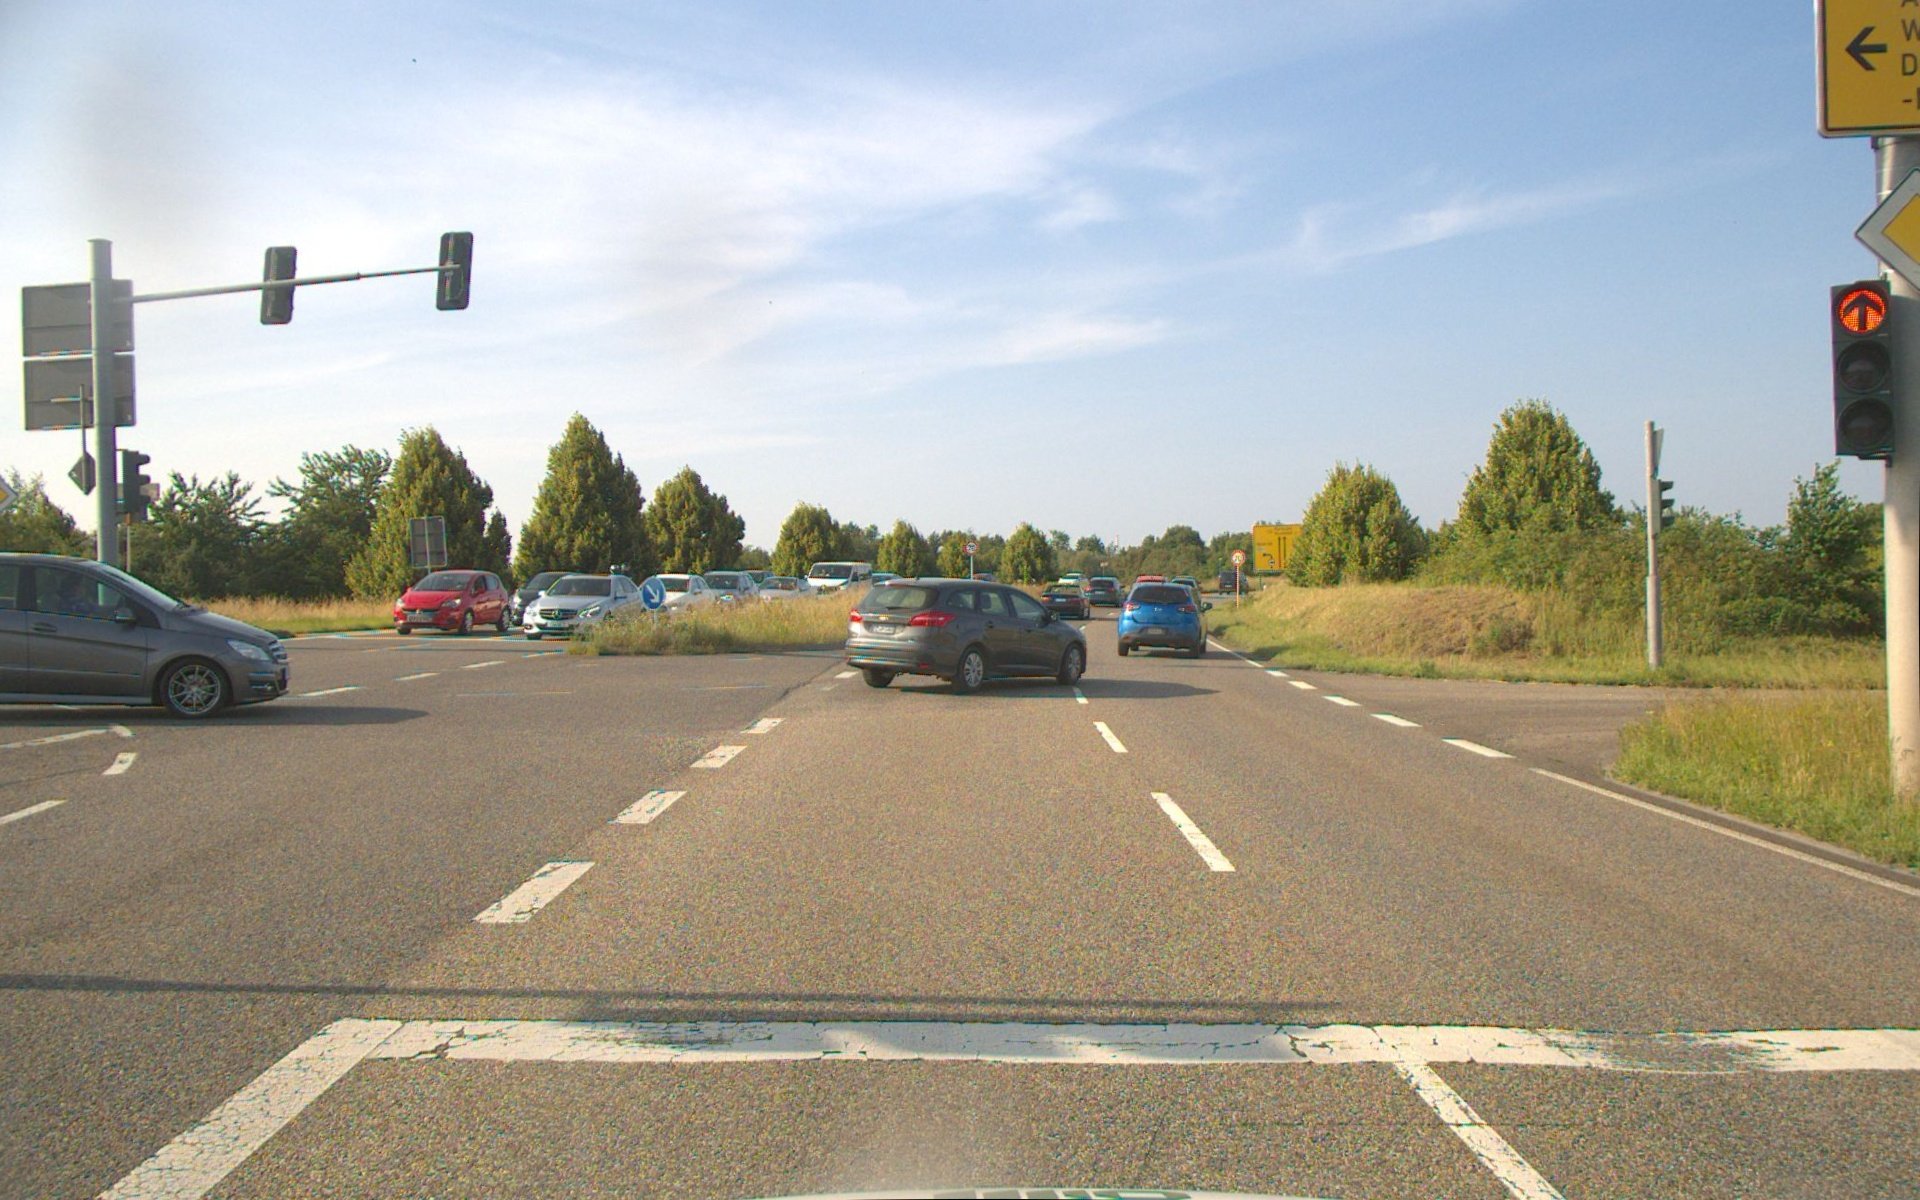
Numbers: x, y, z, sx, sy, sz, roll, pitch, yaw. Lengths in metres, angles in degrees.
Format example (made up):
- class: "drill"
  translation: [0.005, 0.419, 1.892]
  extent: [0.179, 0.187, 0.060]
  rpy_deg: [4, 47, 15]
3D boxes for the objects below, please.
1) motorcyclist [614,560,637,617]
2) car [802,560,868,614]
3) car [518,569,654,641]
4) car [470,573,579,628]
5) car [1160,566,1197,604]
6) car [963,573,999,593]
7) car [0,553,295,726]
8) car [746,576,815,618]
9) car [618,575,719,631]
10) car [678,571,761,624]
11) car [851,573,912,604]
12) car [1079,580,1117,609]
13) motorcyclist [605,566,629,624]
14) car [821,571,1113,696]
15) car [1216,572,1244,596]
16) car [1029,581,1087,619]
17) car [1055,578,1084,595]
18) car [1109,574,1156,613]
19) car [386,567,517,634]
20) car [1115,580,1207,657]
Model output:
- class: "motorcyclist"
  translation: [-10.988, -0.370, 54.322]
  extent: [0.649, 1.848, 0.605]
  rpy_deg: [0, 0, -4]
- class: "car"
  translation: [-5.044, -0.547, 67.274]
  extent: [1.884, 2.114, 4.247]
  rpy_deg: [0, 1, 7]
- class: "car"
  translation: [-8.417, 0.082, 37.657]
  extent: [1.748, 1.514, 4.653]
  rpy_deg: [0, 1, 4]
- class: "car"
  translation: [-12.203, -0.001, 46.563]
  extent: [1.748, 1.458, 4.053]
  rpy_deg: [0, 1, 4]
- class: "car"
  translation: [11.333, -0.755, 85.876]
  extent: [1.868, 1.831, 4.281]
  rpy_deg: [0, -1, 7]
- class: "car"
  translation: [1.552, -1.231, 119.233]
  extent: [1.748, 1.410, 4.055]
  rpy_deg: [0, 1, 13]
- class: "car"
  translation: [-8.982, 0.383, 16.614]
  extent: [4.118, 1.633, 1.781]
  rpy_deg: [1, -1, -19]
- class: "car"
  translation: [-6.250, -0.107, 57.988]
  extent: [1.748, 1.410, 4.053]
  rpy_deg: [0, 1, 4]
- class: "car"
  translation: [-7.957, 0.051, 45.461]
  extent: [1.748, 1.458, 4.311]
  rpy_deg: [0, 1, 4]
- class: "car"
  translation: [-7.460, -0.089, 51.736]
  extent: [1.748, 1.596, 4.053]
  rpy_deg: [0, 1, 4]
- class: "car"
  translation: [-3.588, -0.532, 75.981]
  extent: [1.748, 1.410, 4.055]
  rpy_deg: [0, 1, 13]
- class: "car"
  translation: [6.923, -0.262, 83.276]
  extent: [1.798, 1.401, 4.280]
  rpy_deg: [0, -1, 4]
- class: "motorcyclist"
  translation: [-10.676, -0.165, 51.503]
  extent: [0.649, 1.778, 0.605]
  rpy_deg: [0, 0, -4]
- class: "car"
  translation: [0.206, 0.417, 23.329]
  extent: [1.780, 1.593, 4.511]
  rpy_deg: [1, 0, 37]
- class: "car"
  translation: [21.155, -1.221, 129.811]
  extent: [1.868, 1.764, 4.280]
  rpy_deg: [0, -1, 5]
- class: "car"
  translation: [3.681, 0.039, 61.473]
  extent: [1.868, 1.346, 4.281]
  rpy_deg: [0, -1, 7]
- class: "car"
  translation: [9.229, -1.150, 139.313]
  extent: [1.748, 1.410, 4.055]
  rpy_deg: [0, 1, 13]
- class: "car"
  translation: [7.377, -0.262, 70.986]
  extent: [1.855, 1.592, 4.280]
  rpy_deg: [0, -1, 4]
- class: "car"
  translation: [-12.098, -0.003, 39.559]
  extent: [1.684, 1.514, 3.807]
  rpy_deg: [0, 1, 5]
- class: "car"
  translation: [4.273, 0.343, 34.766]
  extent: [1.735, 1.518, 3.989]
  rpy_deg: [0, 1, 9]
